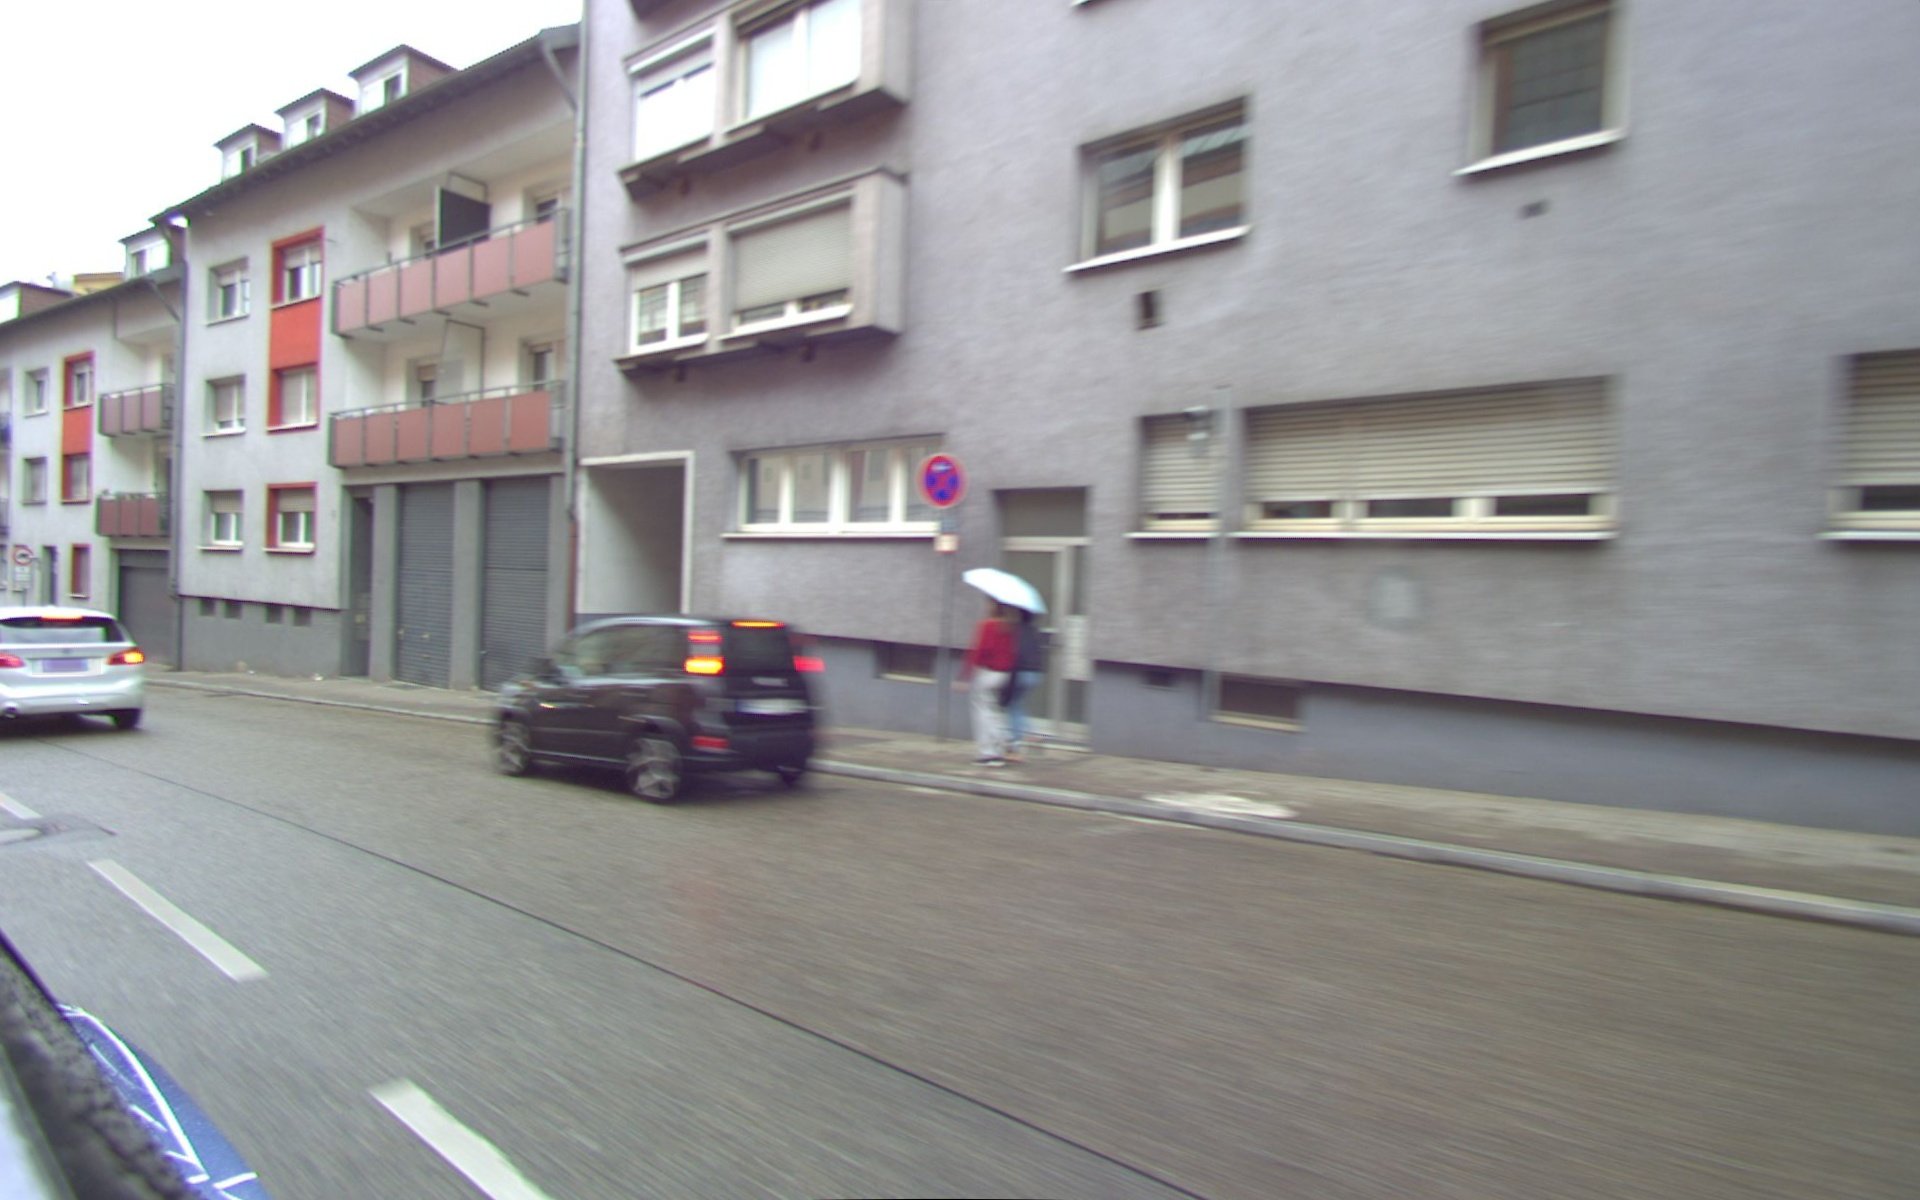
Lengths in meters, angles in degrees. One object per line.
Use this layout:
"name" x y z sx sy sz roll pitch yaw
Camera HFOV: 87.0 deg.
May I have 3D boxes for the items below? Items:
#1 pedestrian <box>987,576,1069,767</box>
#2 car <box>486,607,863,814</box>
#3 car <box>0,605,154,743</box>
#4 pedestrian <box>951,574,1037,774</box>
"pedestrian" 0.665 0.685 9.911 0.621 1.789 0.518 -2 -3 39
"car" -2.648 0.883 9.115 3.373 1.508 1.628 -2 -4 40
"car" -12.316 0.876 13.254 4.028 1.588 1.748 -1 -2 36
"pedestrian" 0.319 0.676 9.503 0.621 1.789 0.518 -2 -3 39
